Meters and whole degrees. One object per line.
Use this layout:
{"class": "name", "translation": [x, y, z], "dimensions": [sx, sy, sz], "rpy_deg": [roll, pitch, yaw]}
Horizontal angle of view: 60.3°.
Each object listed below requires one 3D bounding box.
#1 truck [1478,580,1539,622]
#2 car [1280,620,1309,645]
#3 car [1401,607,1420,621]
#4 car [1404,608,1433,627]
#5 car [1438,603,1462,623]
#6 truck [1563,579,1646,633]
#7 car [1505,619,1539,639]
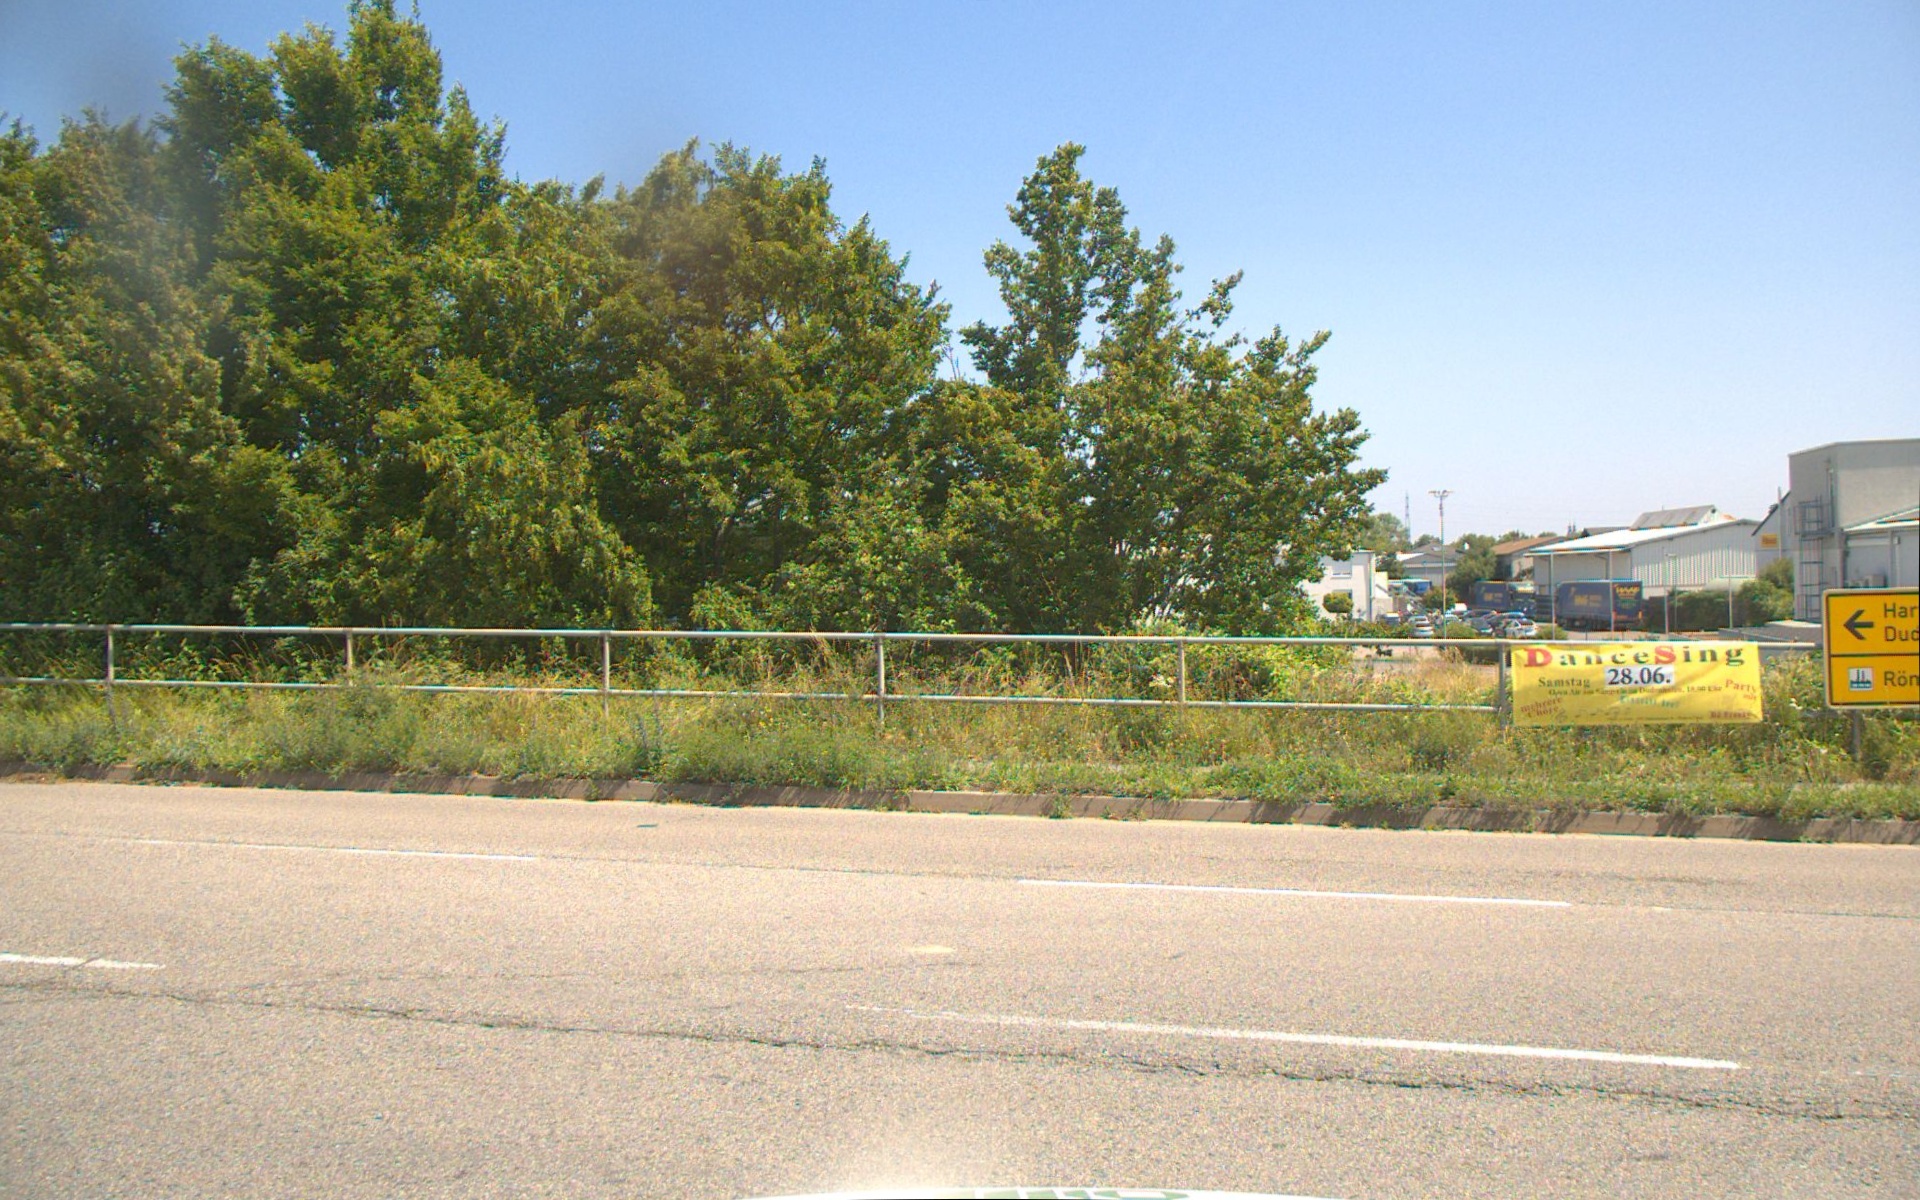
{"class": "truck", "translation": [58.757, 0.088, 177.557], "dimensions": [3.339, 4.386, 14.604], "rpy_deg": [0, 0, 7]}
{"class": "car", "translation": [29.598, 2.869, 146.449], "dimensions": [1.951, 2.049, 4.866], "rpy_deg": [0, 0, 5]}
{"class": "car", "translation": [47.798, 1.466, 175.435], "dimensions": [1.420, 1.374, 3.318], "rpy_deg": [0, 0, 5]}
{"class": "car", "translation": [45.174, 1.678, 163.152], "dimensions": [1.951, 1.761, 4.867], "rpy_deg": [0, 0, 6]}
{"class": "car", "translation": [49.884, 1.312, 168.341], "dimensions": [1.680, 2.049, 4.003], "rpy_deg": [0, 0, 6]}
{"class": "truck", "translation": [55.469, 0.477, 142.846], "dimensions": [3.629, 4.386, 13.353], "rpy_deg": [0, 0, 8]}
{"class": "car", "translation": [43.604, 2.262, 128.482], "dimensions": [1.647, 1.387, 3.839], "rpy_deg": [-3, 0, 6]}
